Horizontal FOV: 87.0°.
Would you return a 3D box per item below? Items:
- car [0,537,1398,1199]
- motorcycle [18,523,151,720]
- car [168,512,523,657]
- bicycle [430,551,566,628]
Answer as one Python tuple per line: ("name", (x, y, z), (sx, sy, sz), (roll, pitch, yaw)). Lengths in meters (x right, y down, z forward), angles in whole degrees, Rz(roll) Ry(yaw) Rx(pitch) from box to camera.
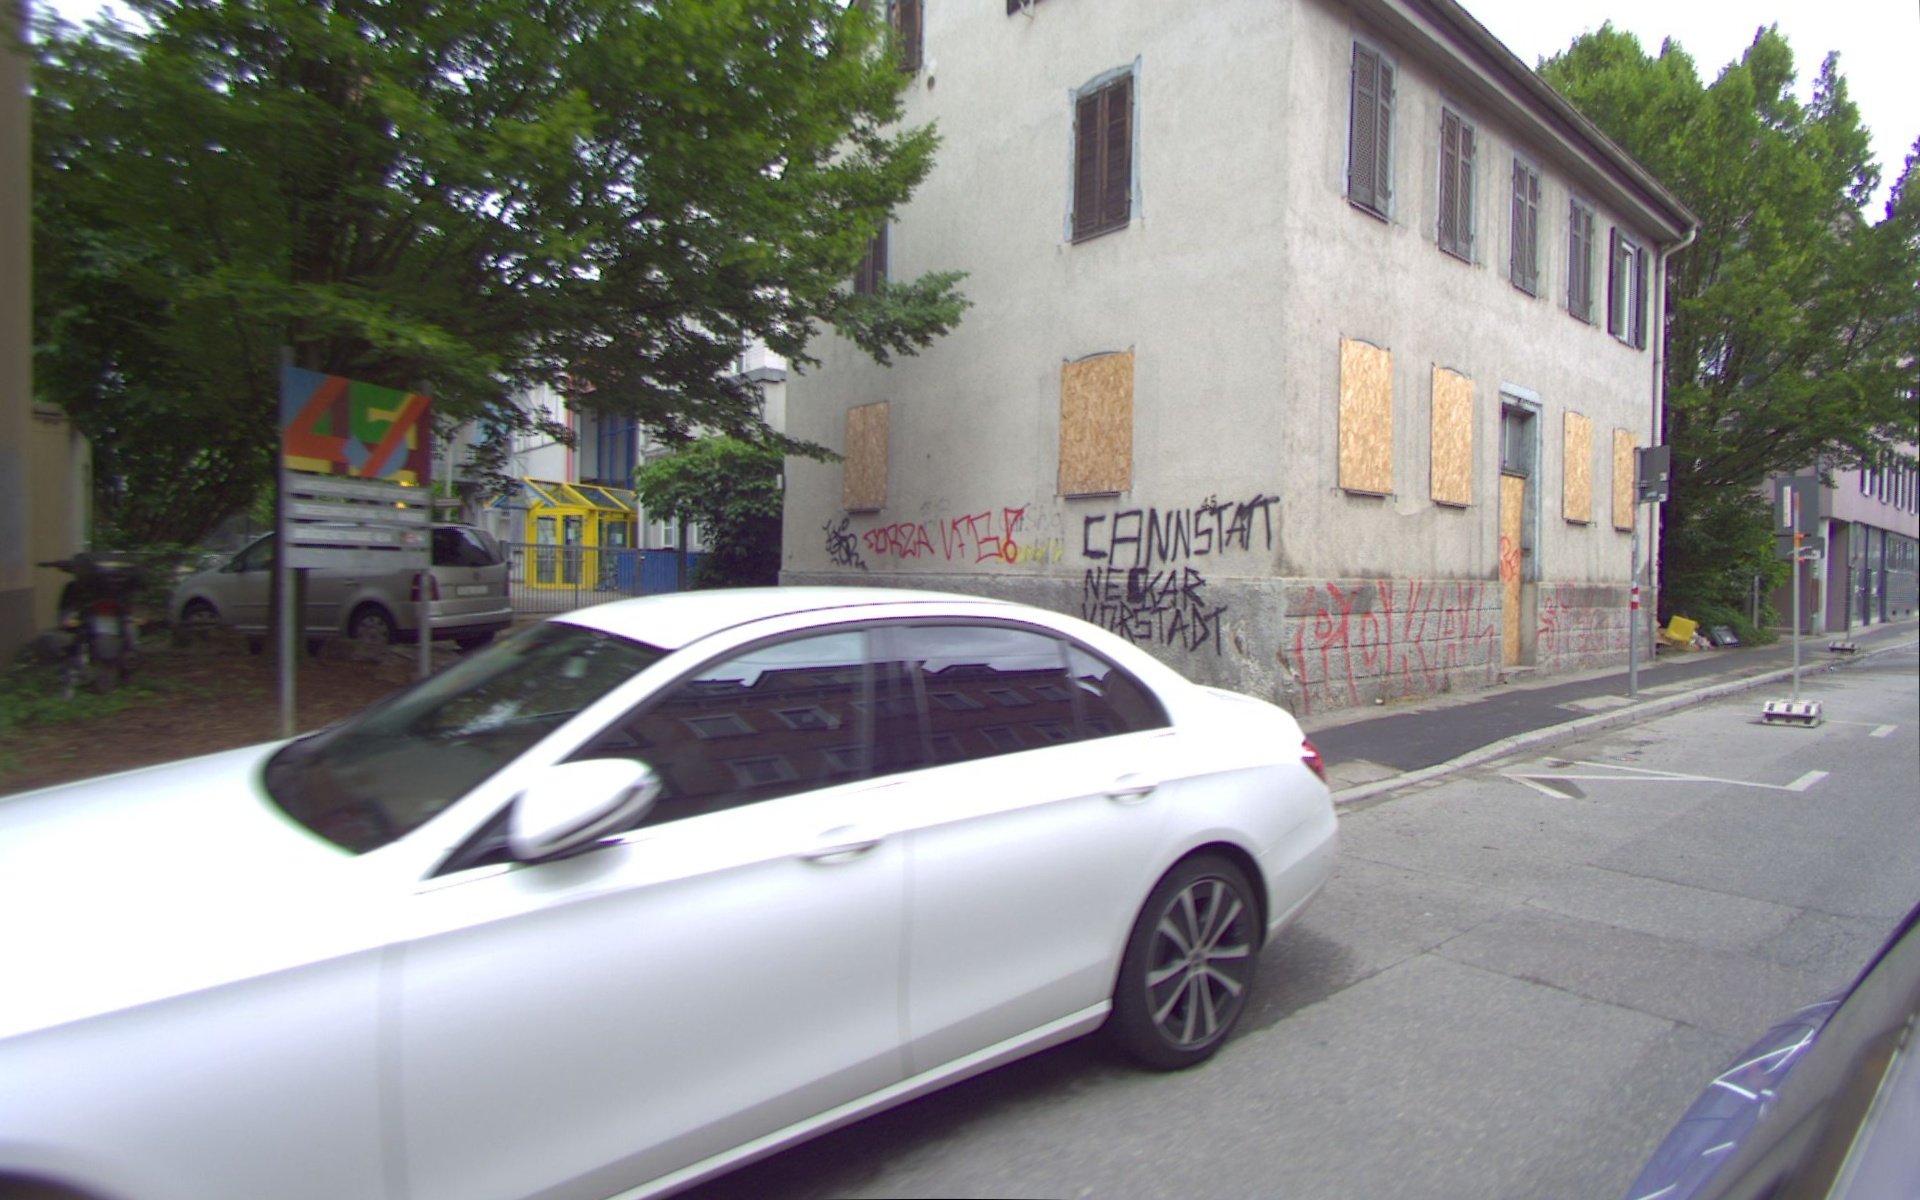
("car", (-0.773, 0.608, 3.004), (4.696, 1.484, 1.772), (-1, 2, -38))
("motorcycle", (-6.642, 0.080, 7.677), (0.663, 1.215, 1.997), (-2, 7, -42))
("car", (-7.642, -0.237, 12.680), (3.777, 1.629, 1.659), (1, 2, 15))
("bicycle", (-7.091, -0.180, 15.606), (1.862, 1.126, 0.457), (-1, 1, -21))
